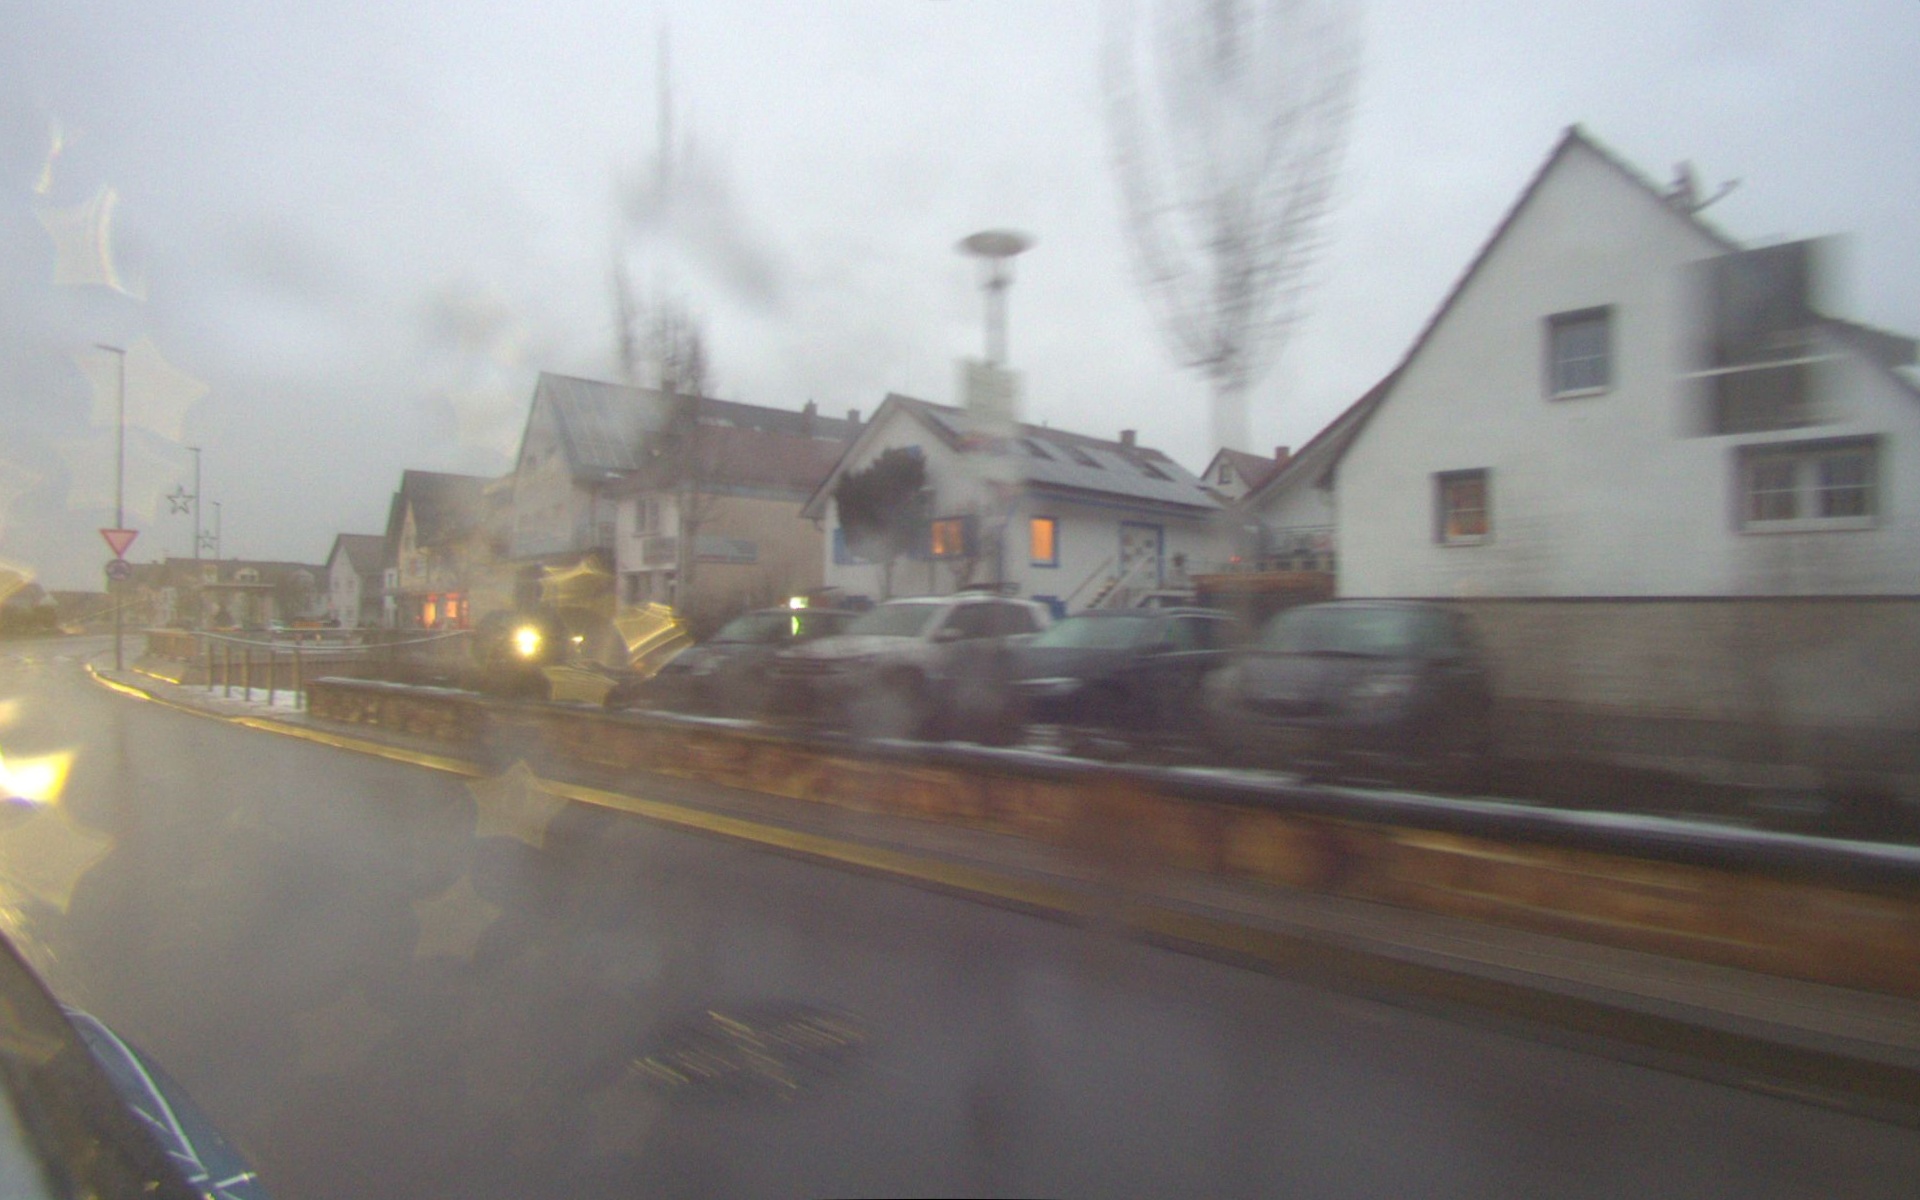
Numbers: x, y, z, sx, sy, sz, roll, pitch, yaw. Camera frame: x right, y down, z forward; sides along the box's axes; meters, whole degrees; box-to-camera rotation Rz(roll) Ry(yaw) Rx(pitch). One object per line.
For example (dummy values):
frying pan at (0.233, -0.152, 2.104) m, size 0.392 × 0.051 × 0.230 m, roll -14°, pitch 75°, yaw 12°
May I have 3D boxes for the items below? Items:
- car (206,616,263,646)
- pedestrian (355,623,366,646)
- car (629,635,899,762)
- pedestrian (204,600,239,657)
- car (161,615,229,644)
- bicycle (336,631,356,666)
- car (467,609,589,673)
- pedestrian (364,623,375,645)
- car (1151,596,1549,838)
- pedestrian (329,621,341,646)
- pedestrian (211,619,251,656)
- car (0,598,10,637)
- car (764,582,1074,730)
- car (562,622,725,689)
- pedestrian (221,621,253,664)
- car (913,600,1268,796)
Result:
car at (-55.145, 2.326, 76.892) m, size 3.952 × 2.028 × 1.909 m, roll 1°, pitch 2°, yaw 27°
pedestrian at (-43.825, 2.523, 73.987) m, size 0.500 × 1.623 × 0.574 m, roll 2°, pitch 2°, yaw 45°
car at (-2.589, 1.248, 13.952) m, size 1.599 × 1.383 × 3.410 m, roll -2°, pitch -1°, yaw 39°
pedestrian at (-23.461, 0.900, 32.138) m, size 0.687 × 1.755 × 0.740 m, roll -2°, pitch 0°, yaw 40°
car at (-56.288, 2.158, 74.509) m, size 3.961 × 2.010 × 1.963 m, roll 1°, pitch 1°, yaw 14°
bicycle at (-18.965, 1.491, 31.233) m, size 0.463 × 1.017 × 1.744 m, roll 1°, pitch -1°, yaw -33°
car at (-12.704, 1.206, 29.604) m, size 1.734 × 1.714 × 4.568 m, roll 4°, pitch -4°, yaw -44°
pedestrian at (-43.639, 2.494, 74.813) m, size 0.500 × 1.623 × 0.574 m, roll 2°, pitch 2°, yaw 45°
car at (3.566, 0.764, 8.821) m, size 1.879 × 1.509 × 4.083 m, roll 2°, pitch 2°, yaw 42°
pedestrian at (-42.240, 2.260, 68.405) m, size 0.500 × 1.623 × 0.574 m, roll 2°, pitch 2°, yaw 45°
pedestrian at (-23.849, 1.231, 33.113) m, size 0.976 × 1.167 × 0.903 m, roll -1°, pitch -2°, yaw -40°
car at (-50.958, 0.940, 52.194) m, size 2.024 × 2.001 × 4.550 m, roll -1°, pitch 2°, yaw -33°
car at (-0.379, 0.582, 12.491) m, size 1.714 × 1.534 × 3.754 m, roll -1°, pitch 0°, yaw 41°
car at (-7.830, 1.333, 24.822) m, size 4.571 × 1.494 × 1.783 m, roll -2°, pitch -3°, yaw 43°
pedestrian at (-22.701, 1.328, 31.765) m, size 0.750 × 1.281 × 0.677 m, roll -2°, pitch -1°, yaw 45°
car at (1.518, 0.826, 10.484) m, size 1.587 × 1.620 × 4.048 m, roll -1°, pitch 0°, yaw 43°
